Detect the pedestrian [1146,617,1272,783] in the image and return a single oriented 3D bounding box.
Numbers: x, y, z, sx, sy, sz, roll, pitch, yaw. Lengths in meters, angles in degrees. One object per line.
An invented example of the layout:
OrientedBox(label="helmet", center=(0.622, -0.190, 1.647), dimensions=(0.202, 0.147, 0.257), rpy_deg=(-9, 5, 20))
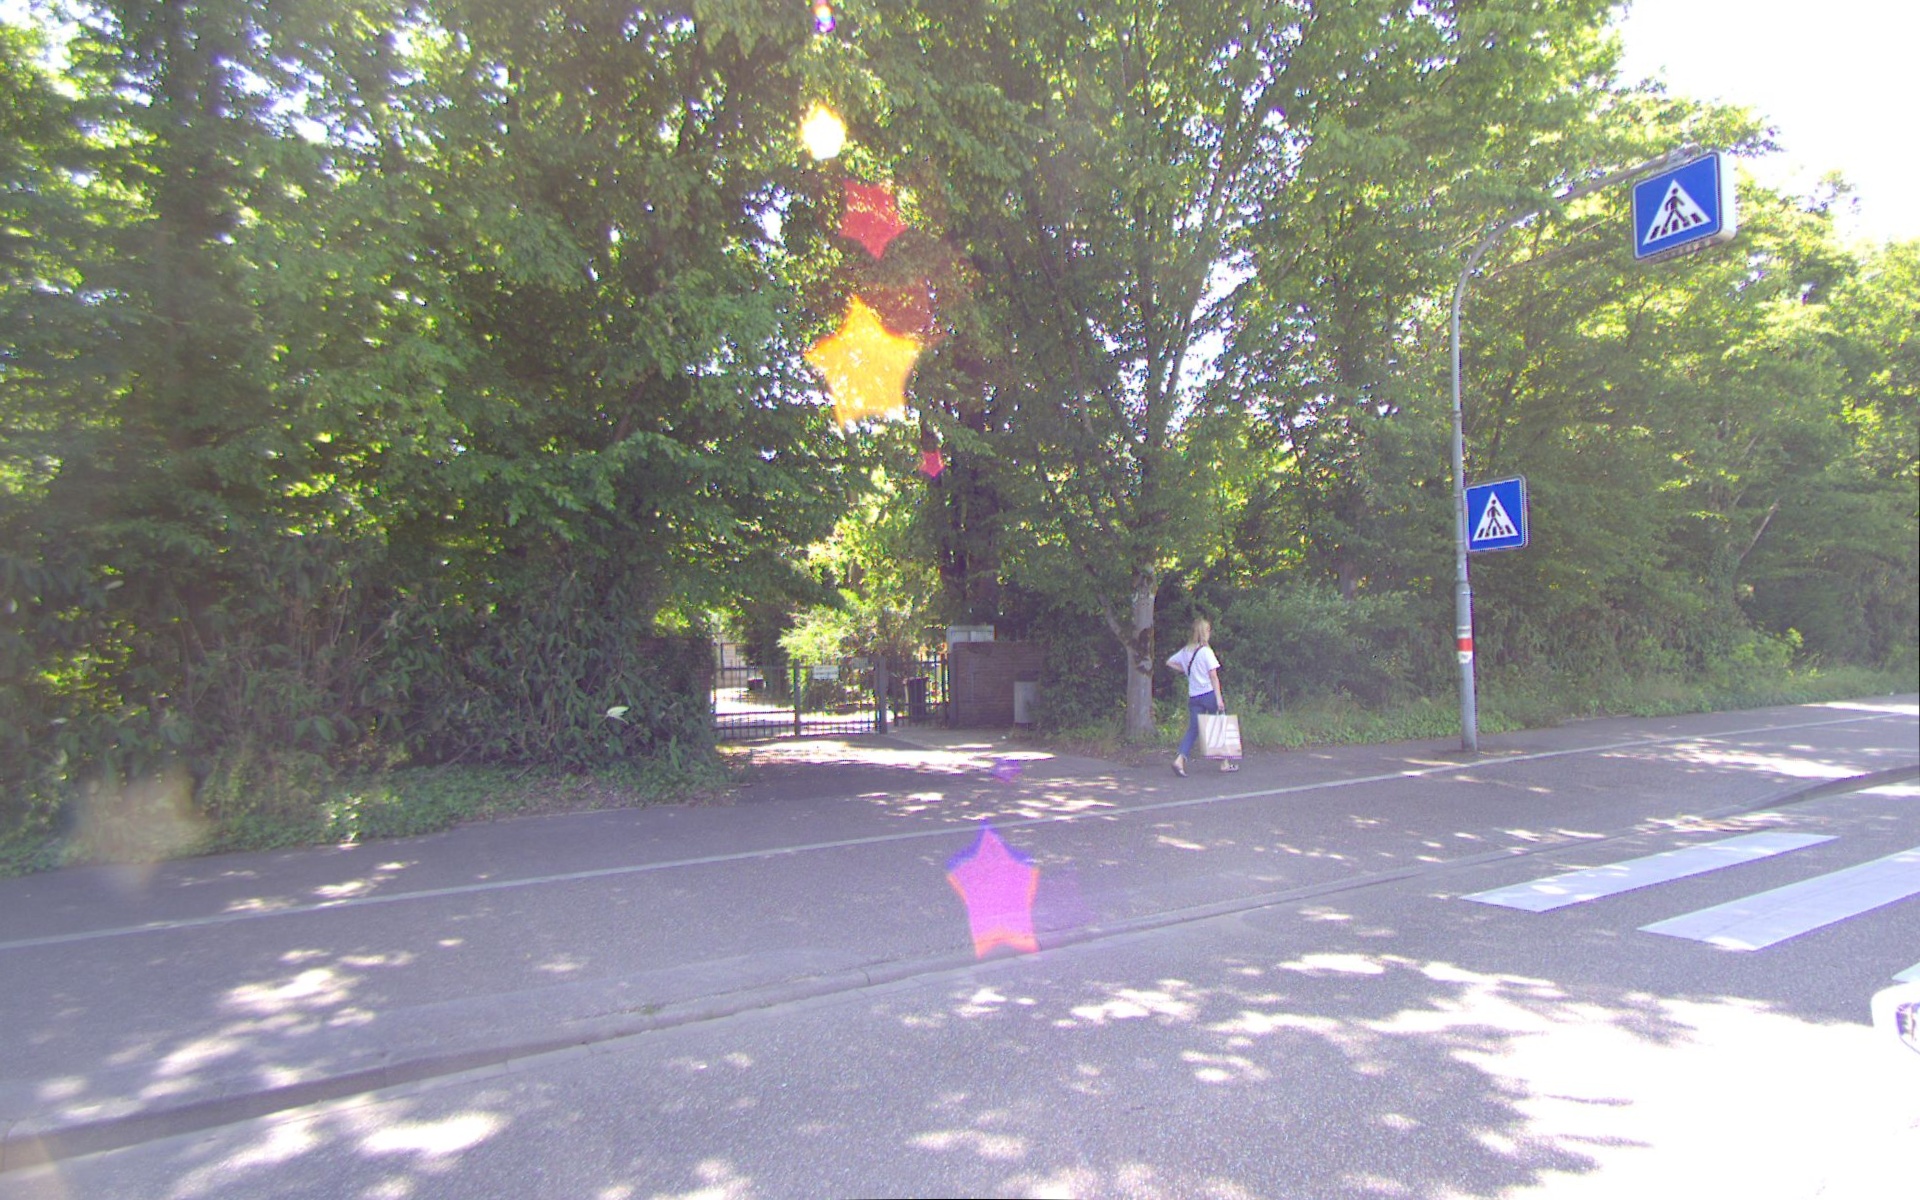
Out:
OrientedBox(label="pedestrian", center=(2.609, 1.007, 10.579), dimensions=(0.875, 1.634, 0.928), rpy_deg=(0, -1, -30))
